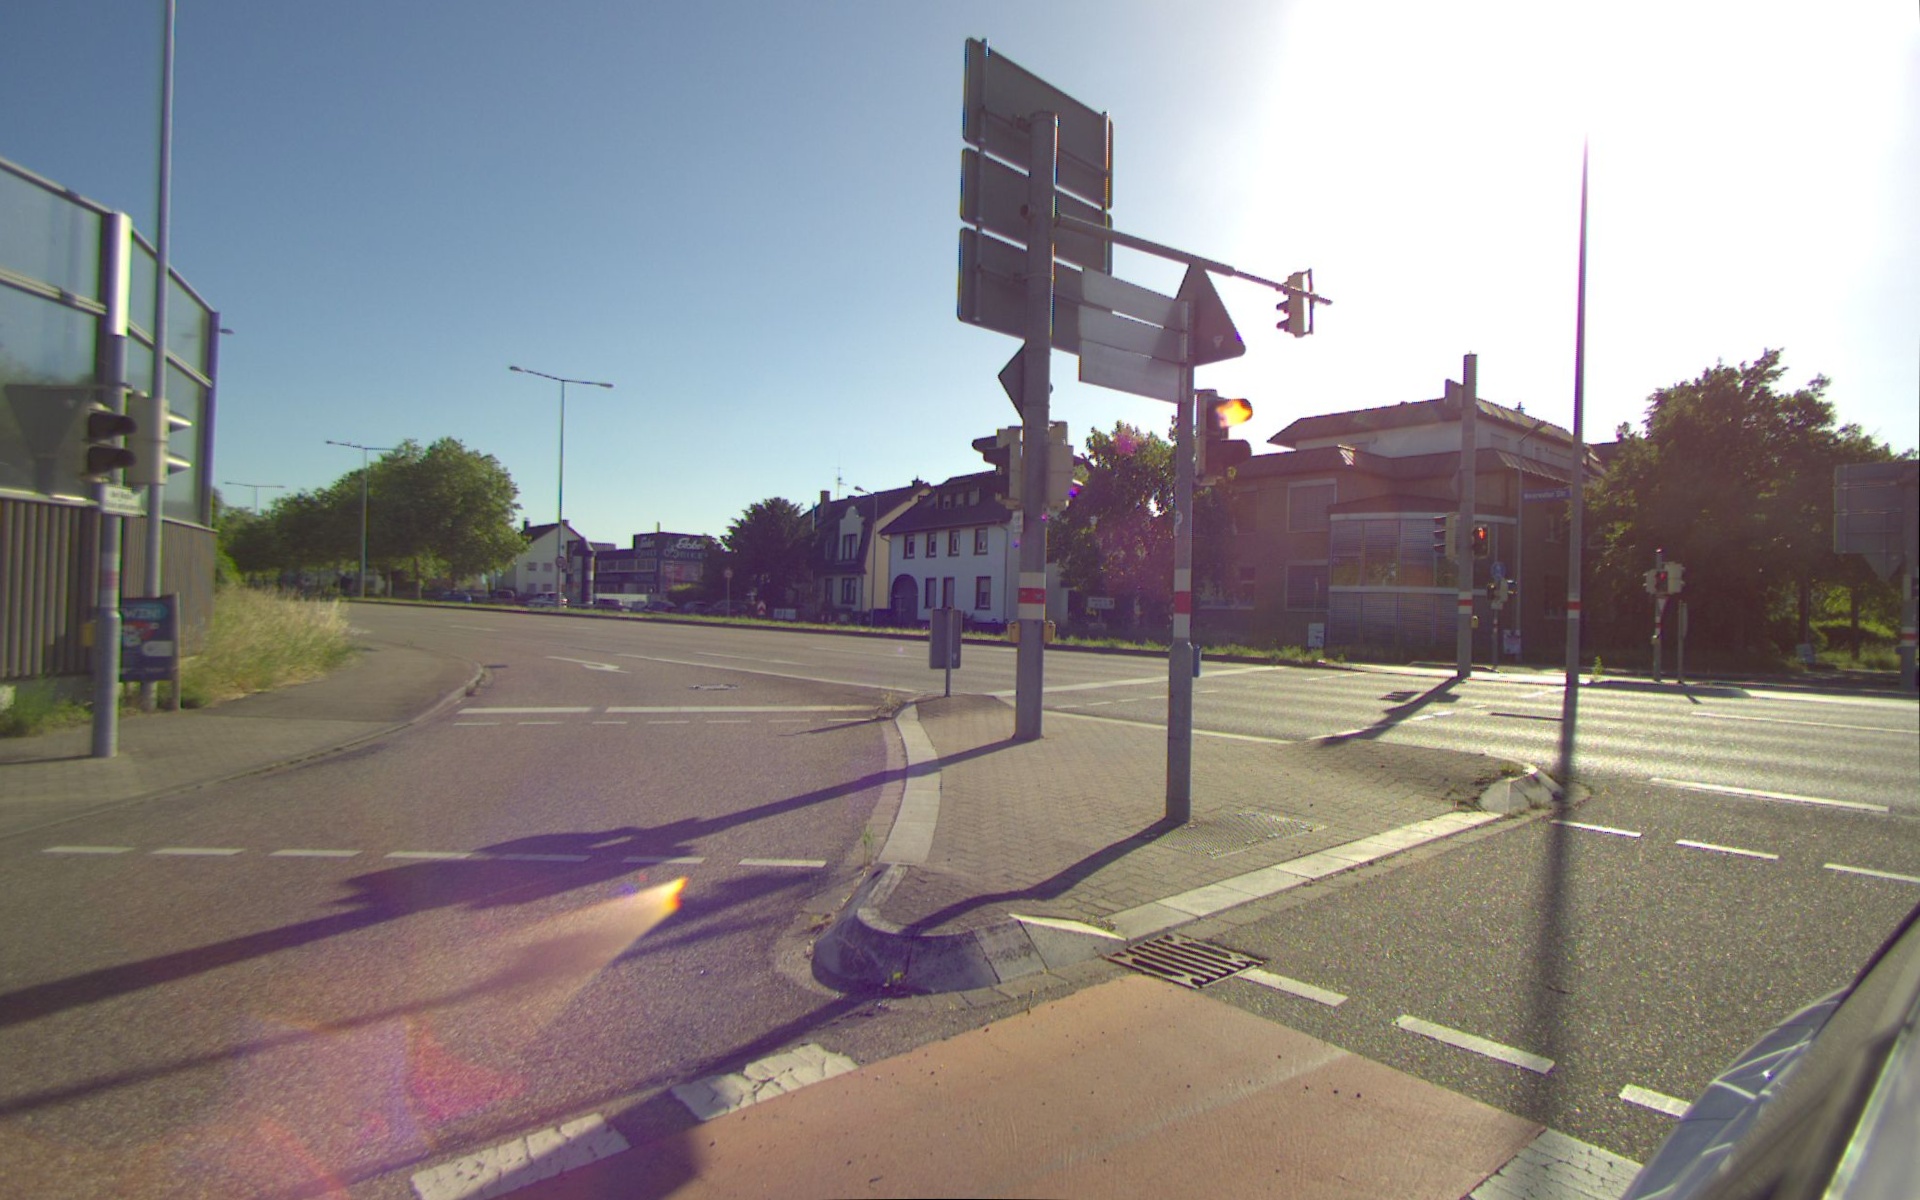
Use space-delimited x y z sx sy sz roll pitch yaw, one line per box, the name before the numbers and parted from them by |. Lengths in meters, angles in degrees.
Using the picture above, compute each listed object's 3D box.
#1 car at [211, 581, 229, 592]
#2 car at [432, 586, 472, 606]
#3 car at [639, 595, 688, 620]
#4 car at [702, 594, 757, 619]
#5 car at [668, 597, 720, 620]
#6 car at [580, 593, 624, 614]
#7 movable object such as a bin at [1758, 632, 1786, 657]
car | -120.561 -2.227 164.940 1.828 1.612 3.991 3 -1 -43
car | -41.490 -0.310 82.592 3.782 1.459 1.709 2 -1 44
car | -22.847 0.625 77.970 1.966 1.842 3.990 3 -3 -43
car | -16.080 0.440 70.613 1.966 1.638 3.991 3 -1 -43
car | -19.559 0.671 74.395 1.966 1.617 3.990 3 -3 -43
car | -29.989 0.325 84.737 1.966 1.612 3.990 3 -3 -43
movable object such as a bin | 45.192 2.461 56.309 0.782 1.339 1.089 3 -2 -38
